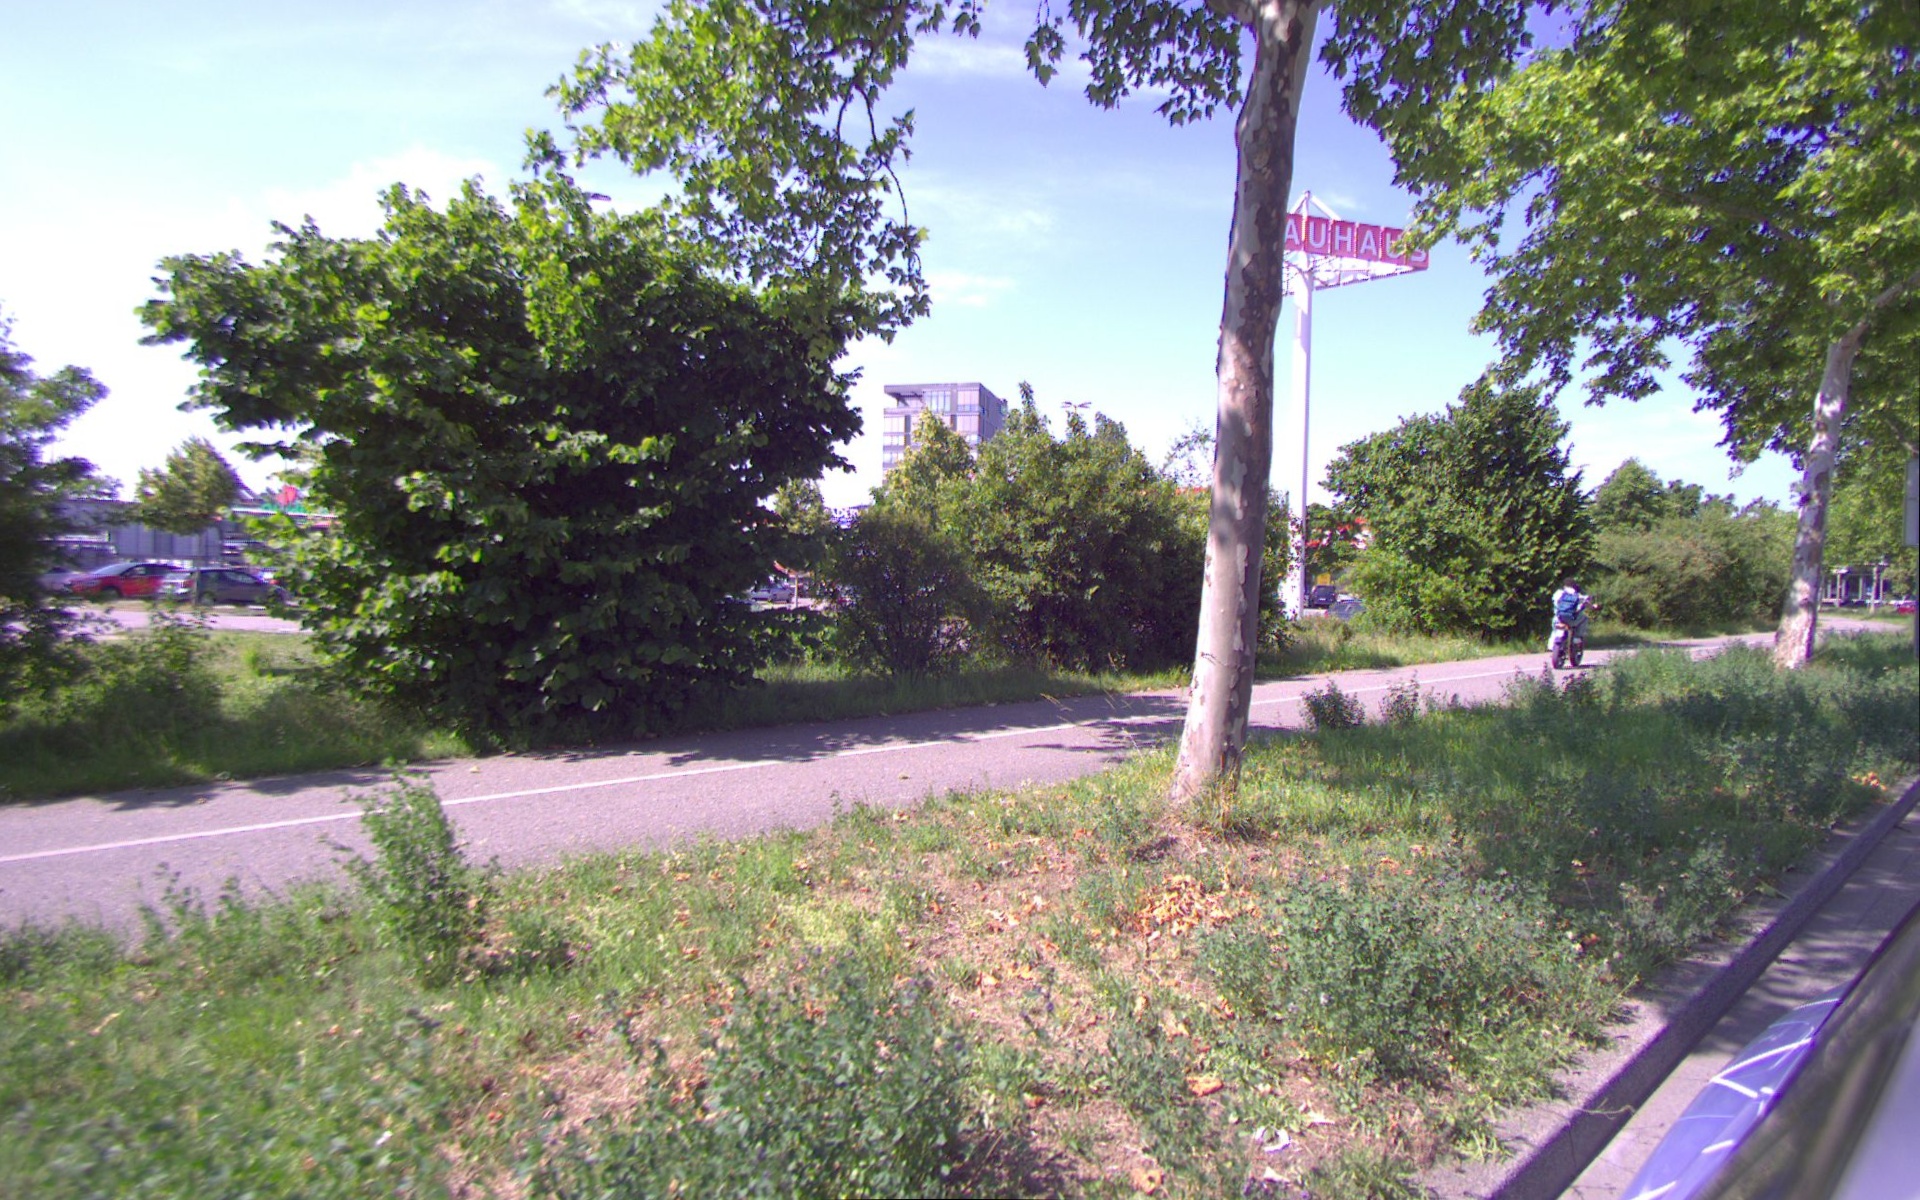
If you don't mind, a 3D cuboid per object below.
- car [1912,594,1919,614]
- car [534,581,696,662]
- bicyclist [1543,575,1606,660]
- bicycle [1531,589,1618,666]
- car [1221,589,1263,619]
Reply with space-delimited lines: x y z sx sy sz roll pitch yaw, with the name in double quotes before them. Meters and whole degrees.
"car" 81.968 0.336 85.414 1.637 1.621 3.562 1 1 32
"car" -6.849 0.349 19.868 1.578 1.438 3.993 0 1 -42
"bicyclist" 11.175 0.292 18.410 0.992 1.495 0.705 0 0 -40
"bicycle" 11.184 0.471 18.393 2.058 1.315 0.724 -1 1 -40
"car" 15.113 0.182 54.374 1.970 1.527 3.984 1 1 13
